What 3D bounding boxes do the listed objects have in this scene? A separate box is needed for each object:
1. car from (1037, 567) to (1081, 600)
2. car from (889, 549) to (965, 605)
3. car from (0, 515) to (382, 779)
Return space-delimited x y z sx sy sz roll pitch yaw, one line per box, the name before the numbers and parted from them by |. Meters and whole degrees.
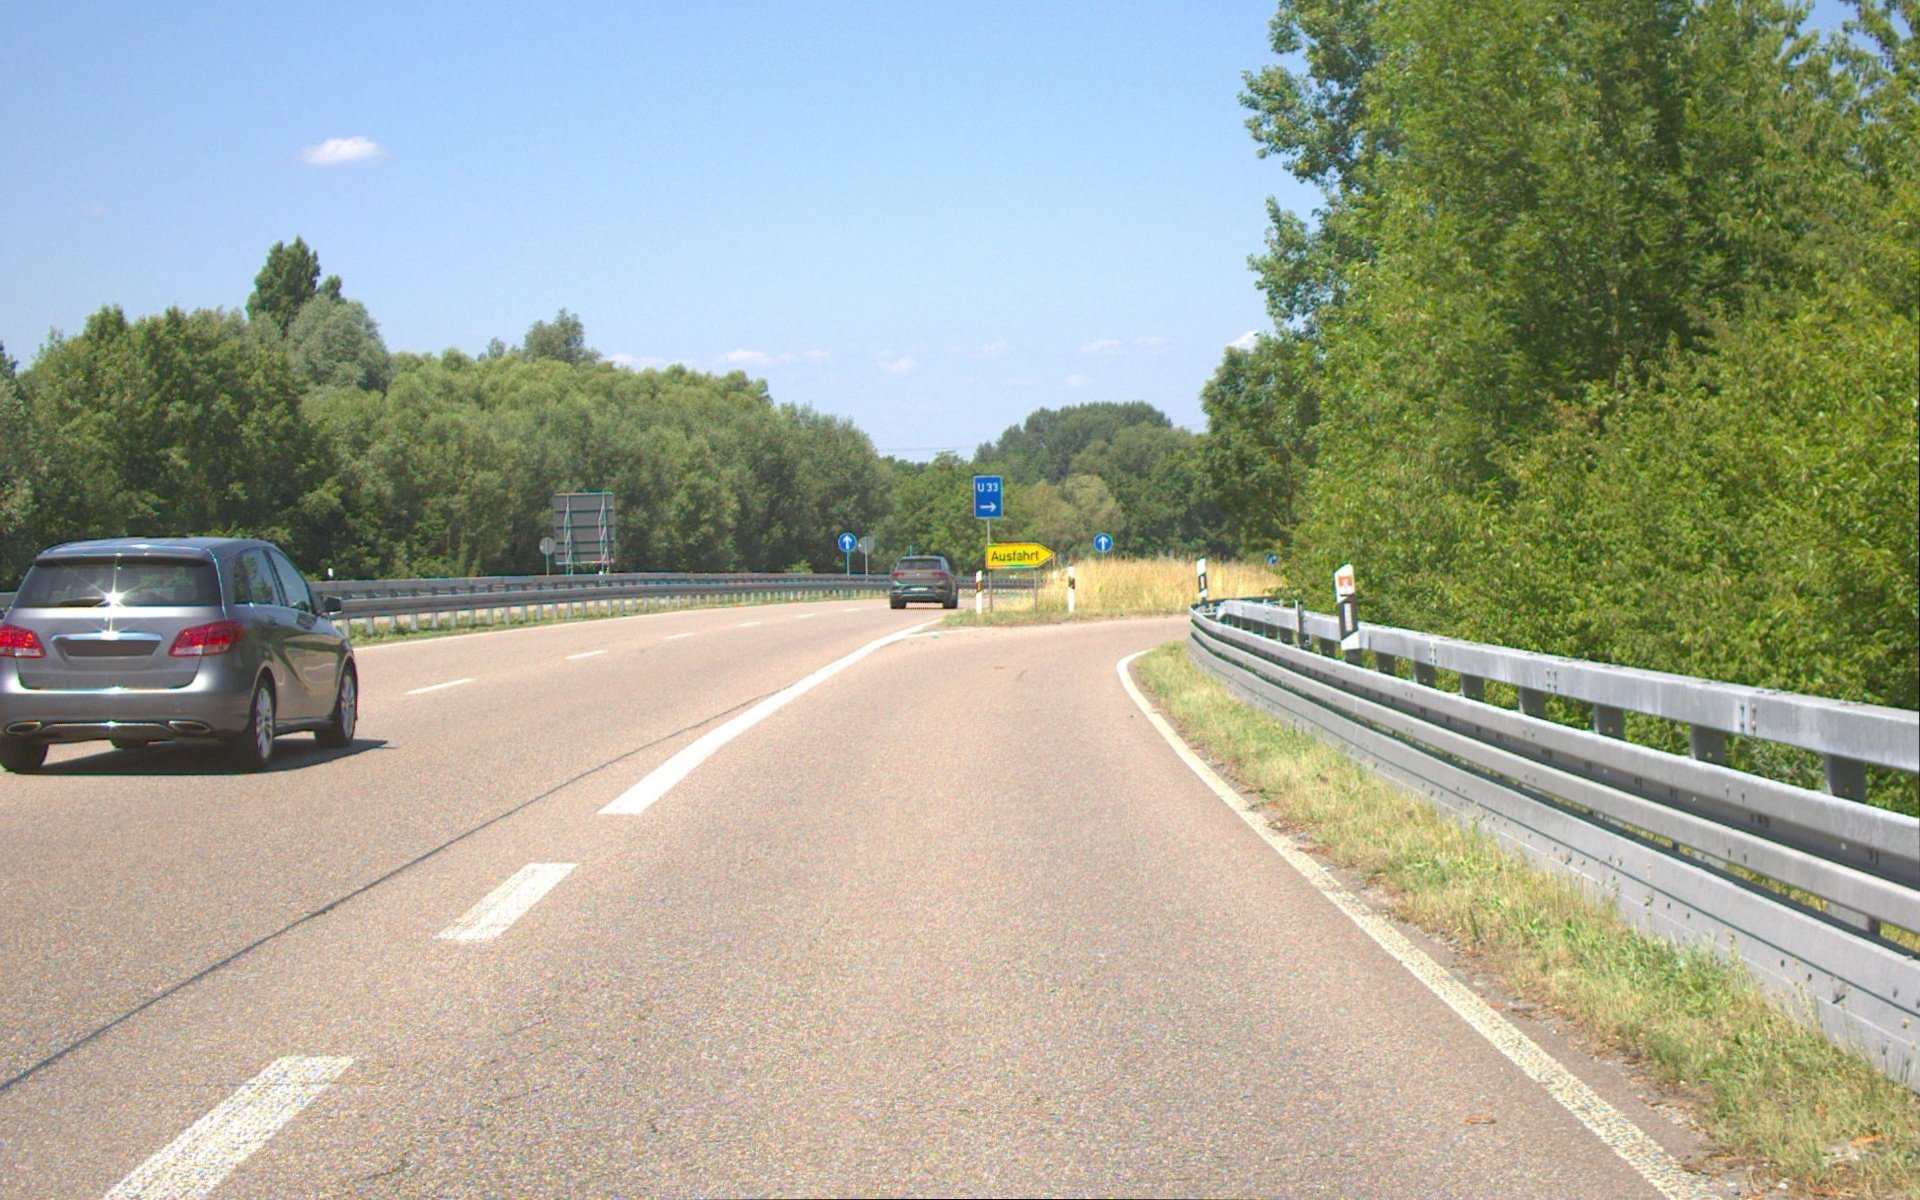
car | 4.870 -0.825 168.517 1.841 1.459 3.999 1 2 6
car | -0.948 -0.703 101.416 1.841 1.524 4.469 1 2 5
car | -5.426 0.243 24.336 1.793 1.662 4.554 1 2 1
